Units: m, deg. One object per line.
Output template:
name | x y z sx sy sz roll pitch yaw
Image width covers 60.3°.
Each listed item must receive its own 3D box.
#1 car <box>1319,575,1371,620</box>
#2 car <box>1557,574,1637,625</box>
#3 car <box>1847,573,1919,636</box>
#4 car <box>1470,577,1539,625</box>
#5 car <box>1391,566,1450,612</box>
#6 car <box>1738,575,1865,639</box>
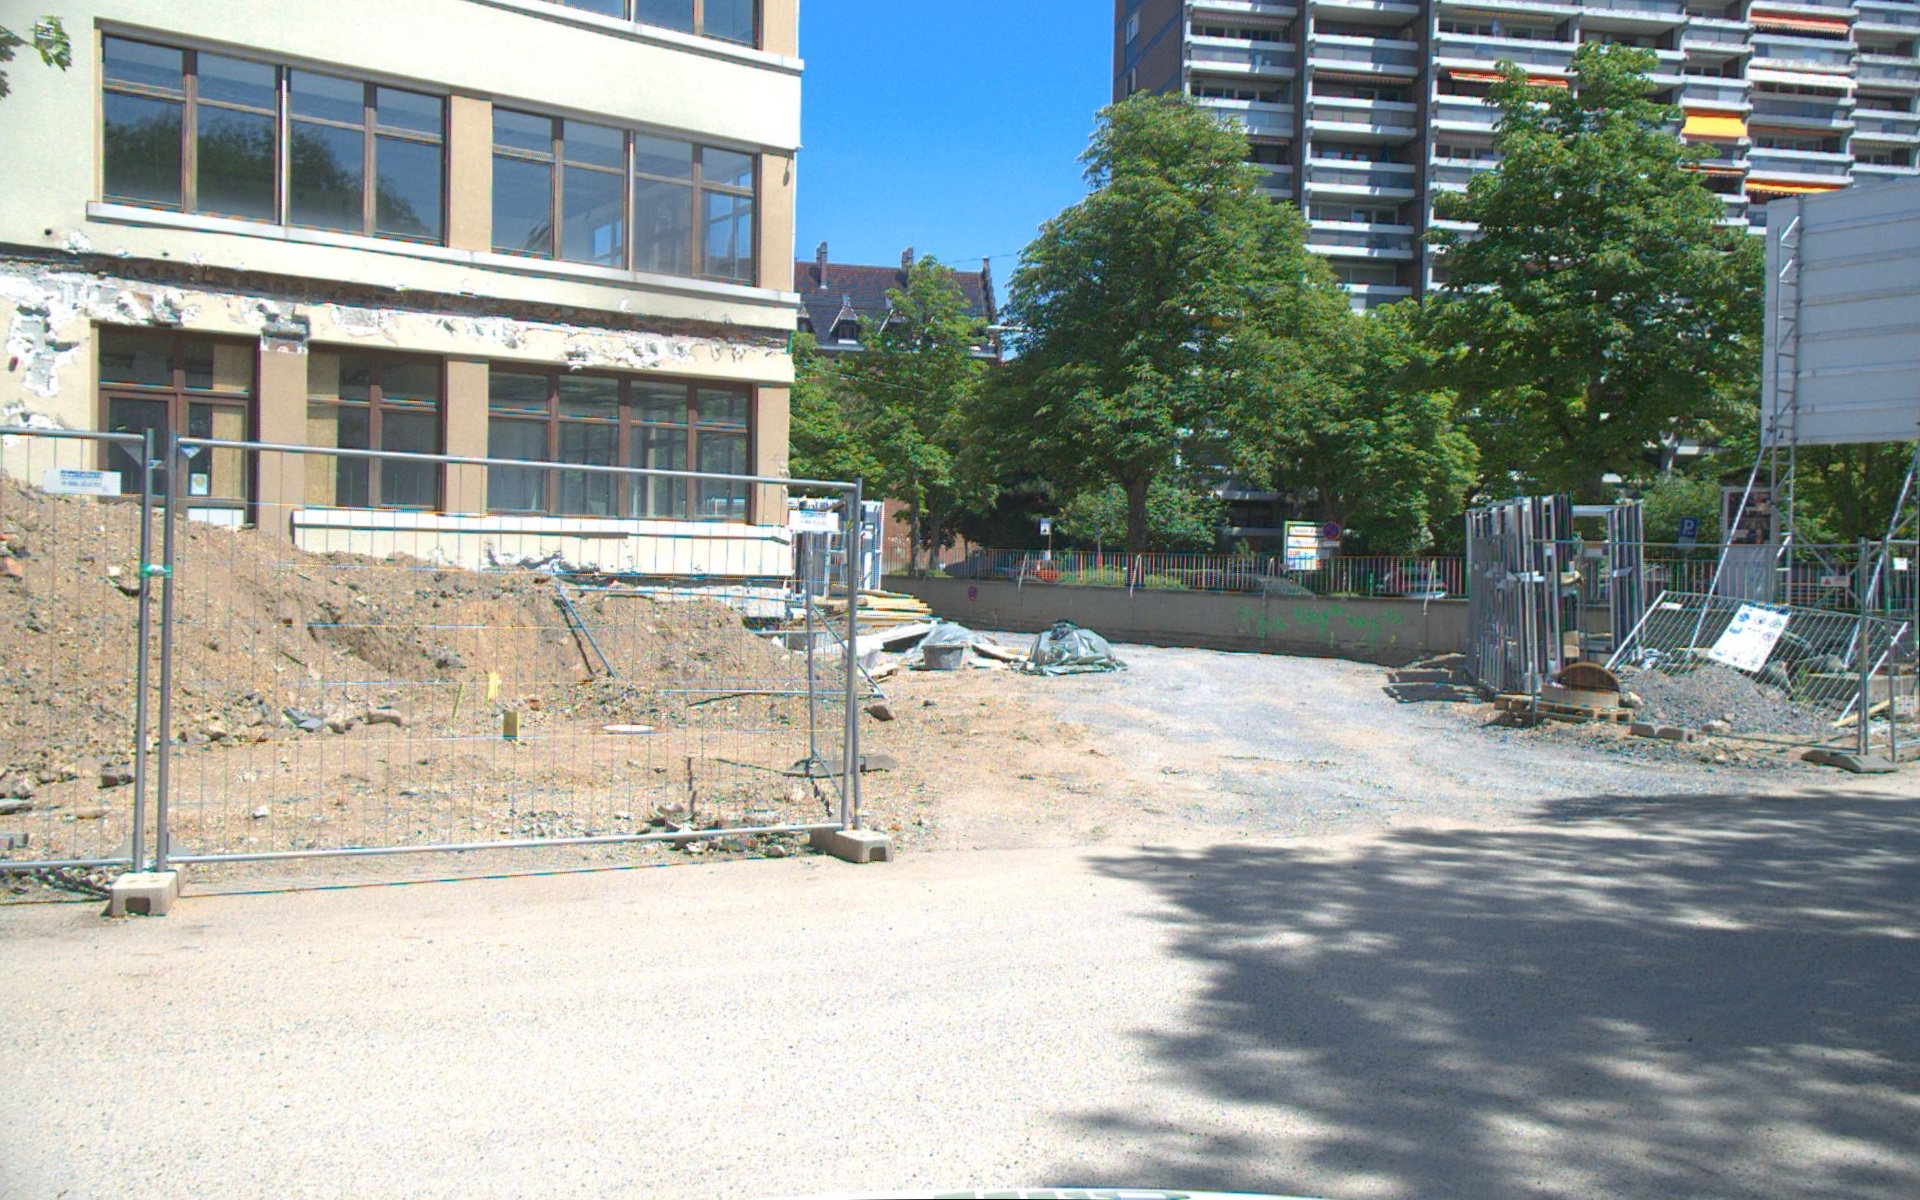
car | 12.962 -0.110 55.785 1.598 1.411 3.681 1 1 12
car | 18.705 -0.045 48.701 1.598 1.411 3.681 1 1 12
car | 23.513 0.085 40.802 1.598 1.489 3.681 1 1 6
car | 16.944 -0.009 51.574 1.598 1.411 3.681 1 1 12
car | 15.102 -0.378 54.375 1.598 1.411 3.681 1 1 12
car | 21.017 0.143 41.462 1.598 1.489 3.681 1 1 6
